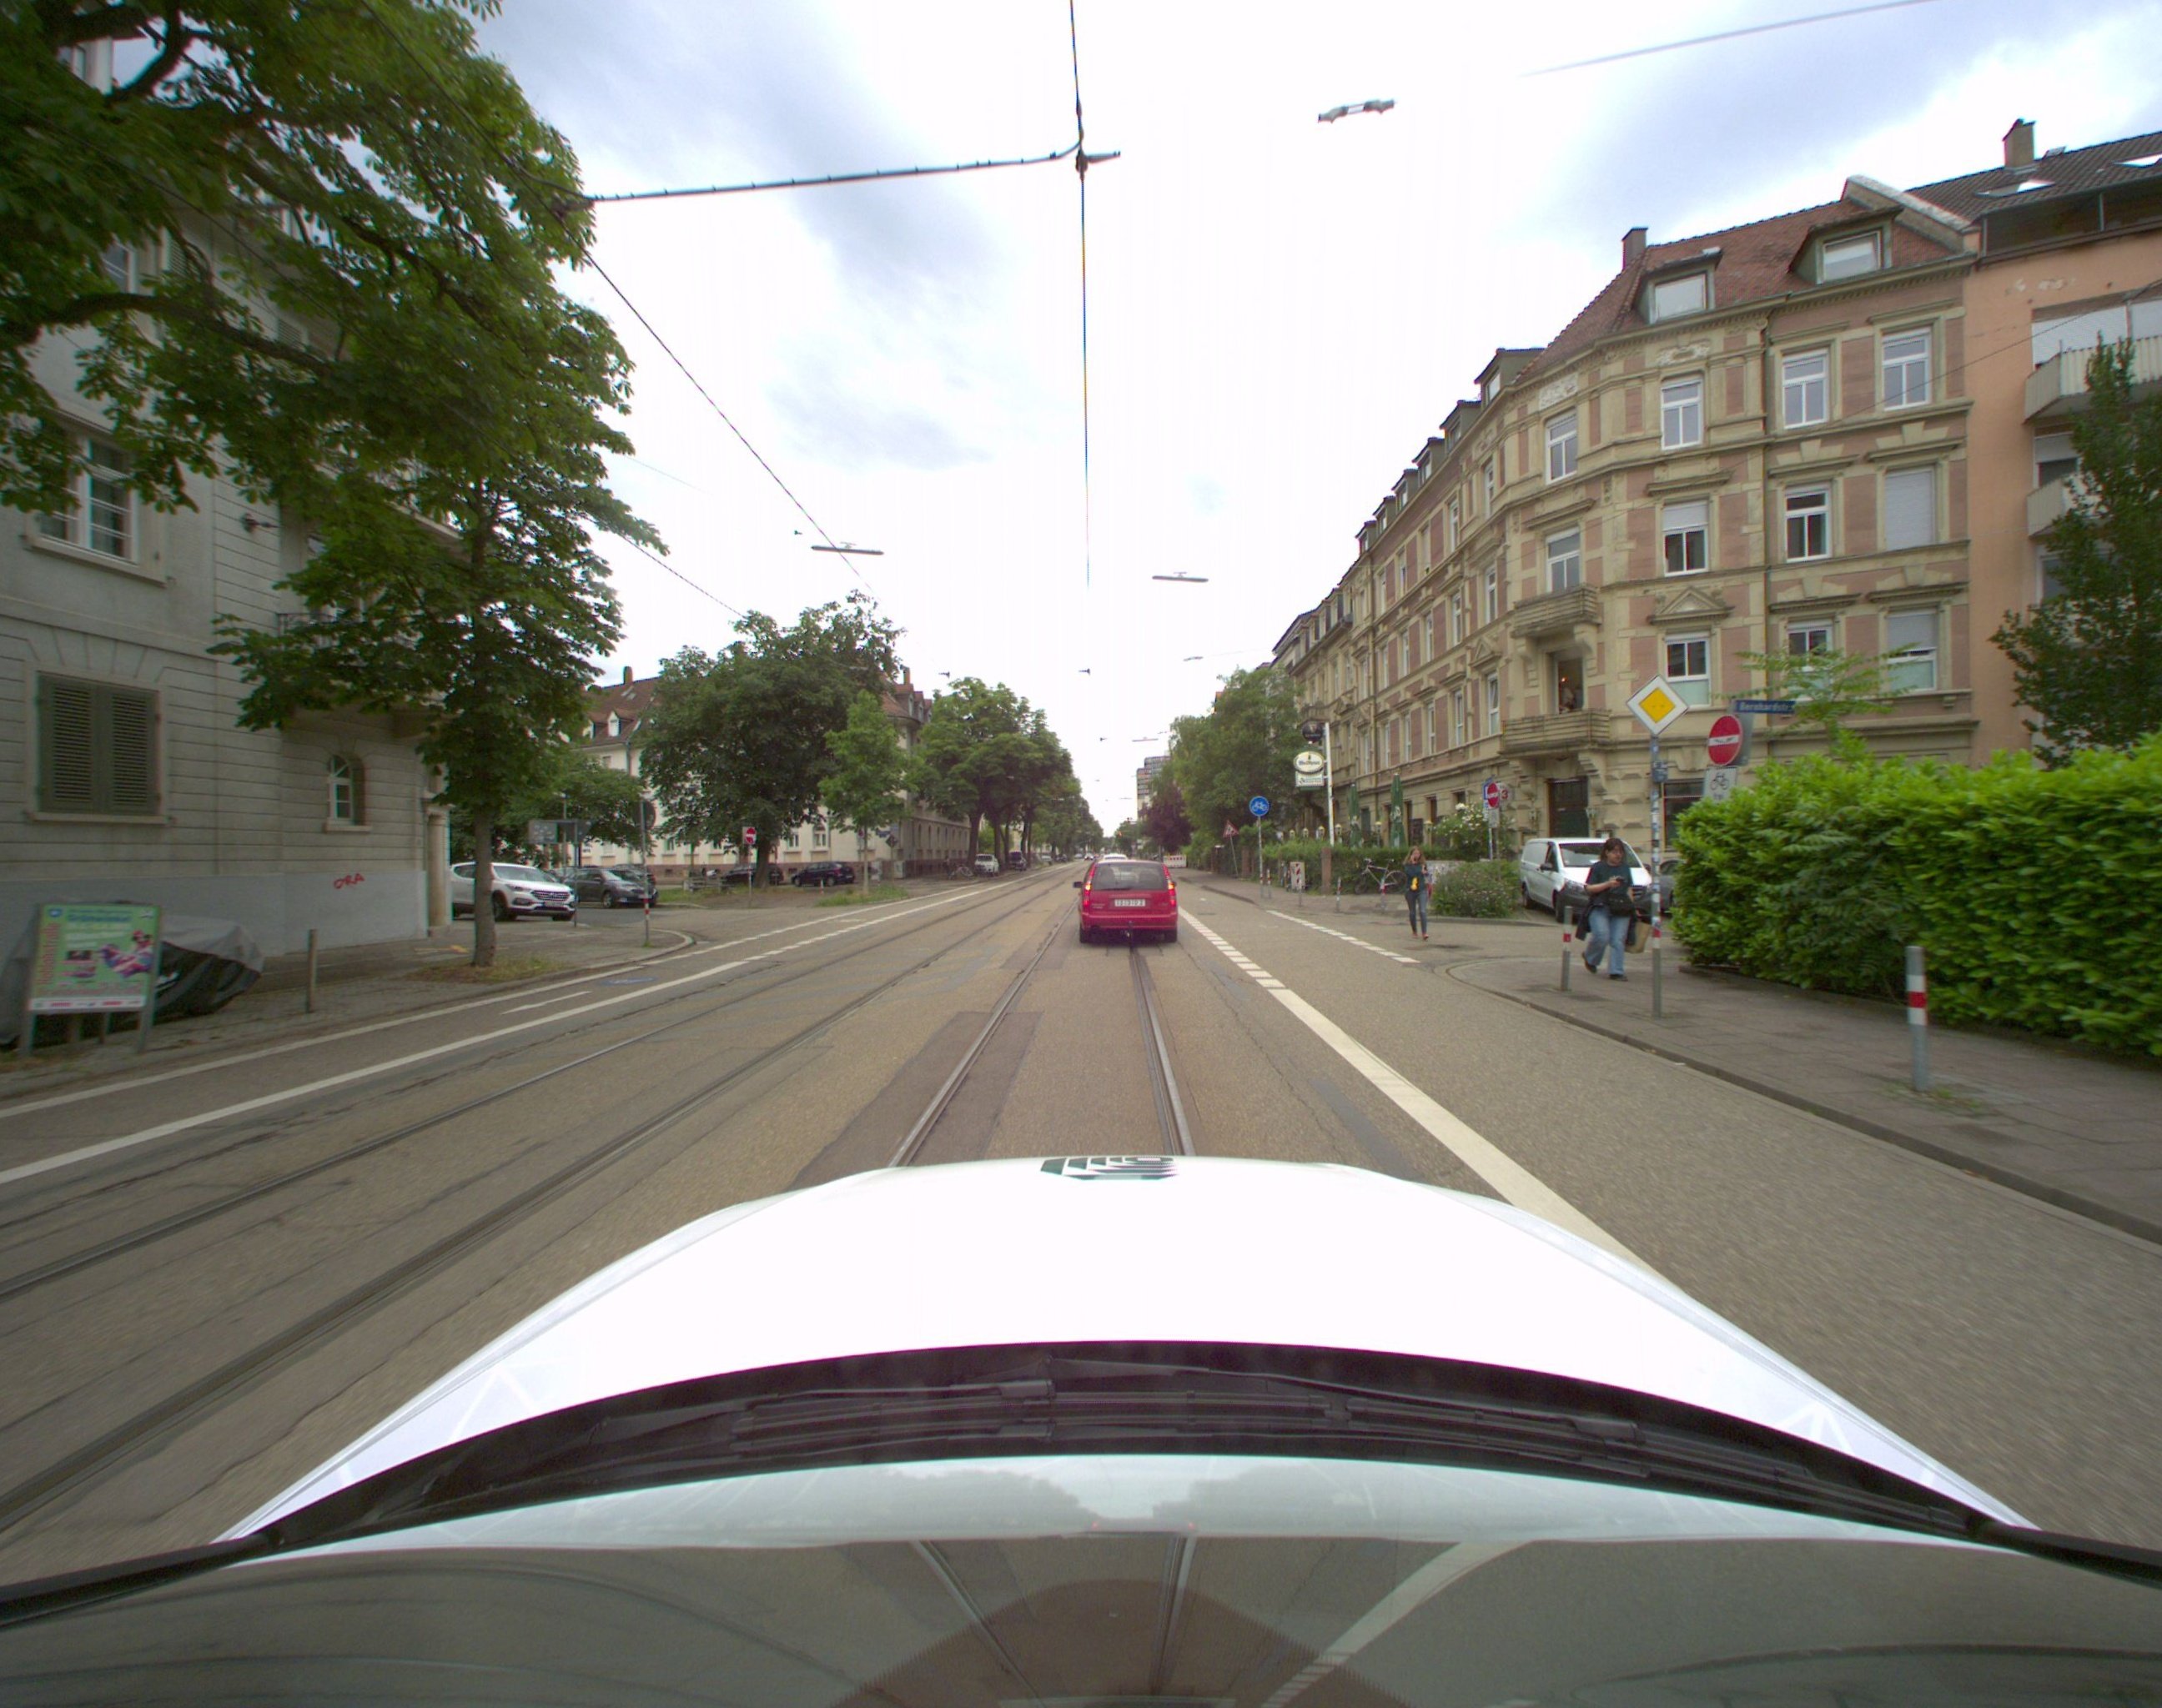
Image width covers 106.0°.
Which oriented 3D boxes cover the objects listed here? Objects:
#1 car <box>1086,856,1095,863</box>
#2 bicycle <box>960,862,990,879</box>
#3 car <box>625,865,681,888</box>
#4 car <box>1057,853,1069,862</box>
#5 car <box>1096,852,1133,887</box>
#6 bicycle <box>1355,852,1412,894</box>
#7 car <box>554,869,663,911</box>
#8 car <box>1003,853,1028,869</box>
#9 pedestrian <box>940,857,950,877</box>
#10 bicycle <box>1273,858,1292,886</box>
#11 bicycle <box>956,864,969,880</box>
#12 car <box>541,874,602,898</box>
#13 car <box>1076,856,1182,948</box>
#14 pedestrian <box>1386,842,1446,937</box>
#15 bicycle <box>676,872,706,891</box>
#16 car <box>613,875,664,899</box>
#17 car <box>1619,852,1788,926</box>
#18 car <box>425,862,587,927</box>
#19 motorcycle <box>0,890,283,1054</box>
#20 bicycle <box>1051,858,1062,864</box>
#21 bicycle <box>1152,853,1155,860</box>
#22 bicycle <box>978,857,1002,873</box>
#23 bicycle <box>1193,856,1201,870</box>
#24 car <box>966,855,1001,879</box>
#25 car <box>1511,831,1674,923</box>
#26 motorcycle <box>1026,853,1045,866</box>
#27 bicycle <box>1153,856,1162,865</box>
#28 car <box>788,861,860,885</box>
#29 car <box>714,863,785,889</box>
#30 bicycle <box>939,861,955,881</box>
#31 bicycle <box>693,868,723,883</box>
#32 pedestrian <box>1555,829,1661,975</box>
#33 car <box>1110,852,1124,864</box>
[{"bbox_3d":[2.108,1.159,178.563,1.749,1.380,4.027,-1,0,1],"label":"car"},{"bbox_3d":[-7.093,1.133,54.723,1.915,1.121,0.624,1,0,1],"label":"bicycle"},{"bbox_3d":[-28.803,1.511,54.828,3.455,1.441,1.685,-1,0,28],"label":"car"},{"bbox_3d":[-3.201,0.683,144.717,1.844,1.563,3.945,-1,0,2],"label":"car"},{"bbox_3d":[1.697,0.711,40.313,1.711,1.625,3.945,-1,0,4],"label":"car"},{"bbox_3d":[9.460,0.584,25.526,1.593,1.277,0.515,-1,0,13],"label":"bicycle"},{"bbox_3d":[-17.216,1.271,29.636,4.018,1.410,1.672,0,0,30],"label":"car"},{"bbox_3d":[-6.217,0.638,77.431,1.770,1.511,4.241,0,0,3],"label":"car"},{"bbox_3d":[-9.886,0.962,59.390,0.562,1.467,0.723,-1,0,2],"label":"pedestrian"},{"bbox_3d":[7.737,0.678,31.296,0.300,1.041,1.849,-1,0,2],"label":"bicycle"},{"bbox_3d":[-7.193,1.092,49.443,0.481,0.958,1.399,-1,0,4],"label":"bicycle"},{"bbox_3d":[-31.666,1.969,50.613,3.948,1.409,1.684,-1,0,33],"label":"car"},{"bbox_3d":[0.834,0.764,14.832,1.682,1.441,3.744,0,0,2],"label":"car"},{"bbox_3d":[6.020,0.616,14.676,0.866,1.656,0.912,-1,0,14],"label":"pedestrian"},{"bbox_3d":[-19.411,1.372,40.523,1.653,0.925,0.451,-1,0,29],"label":"bicycle"},{"bbox_3d":[-25.703,1.911,47.331,2.929,1.299,1.365,-1,0,33],"label":"car"},{"bbox_3d":[13.878,0.713,18.448,1.683,1.366,4.017,-1,2,16],"label":"car"},{"bbox_3d":[-16.305,1.102,23.065,4.459,1.663,1.951,-1,0,28],"label":"car"},{"bbox_3d":[-8.941,1.032,7.831,0.539,1.257,2.139,-1,0,-4],"label":"motorcycle"},{"bbox_3d":[-3.894,1.101,129.984,1.741,0.844,0.684,-1,0,2],"label":"bicycle"},{"bbox_3d":[13.766,0.460,155.134,0.549,1.400,1.735,-1,0,2],"label":"bicycle"},{"bbox_3d":[-7.122,0.849,64.059,1.730,1.192,0.655,1,0,16],"label":"bicycle"},{"bbox_3d":[8.840,0.700,62.169,0.477,1.045,1.532,-1,0,2],"label":"bicycle"},{"bbox_3d":[-6.974,0.907,58.657,1.890,1.655,4.226,-1,0,1],"label":"car"},{"bbox_3d":[11.885,0.473,19.364,2.036,1.877,5.052,-1,0,17],"label":"car"},{"bbox_3d":[-5.578,0.692,99.493,2.243,1.511,0.932,-1,-2,37],"label":"motorcycle"},{"bbox_3d":[12.637,1.045,134.057,0.909,1.507,2.392,-1,0,19],"label":"bicycle"},{"bbox_3d":[-14.769,1.097,46.818,3.715,1.307,1.751,-1,0,25],"label":"car"},{"bbox_3d":[-20.121,1.341,49.433,3.896,1.464,1.716,-1,0,24],"label":"car"},{"bbox_3d":[-8.215,1.007,49.853,0.676,1.136,1.926,-2,1,-16],"label":"bicycle"},{"bbox_3d":[-25.489,1.476,55.660,2.163,1.035,0.657,-1,0,29],"label":"bicycle"},{"bbox_3d":[6.213,0.572,9.659,0.786,1.636,0.840,-3,-3,19],"label":"pedestrian"},{"bbox_3d":[5.164,0.602,117.301,1.736,1.606,3.999,-1,0,0],"label":"car"}]
